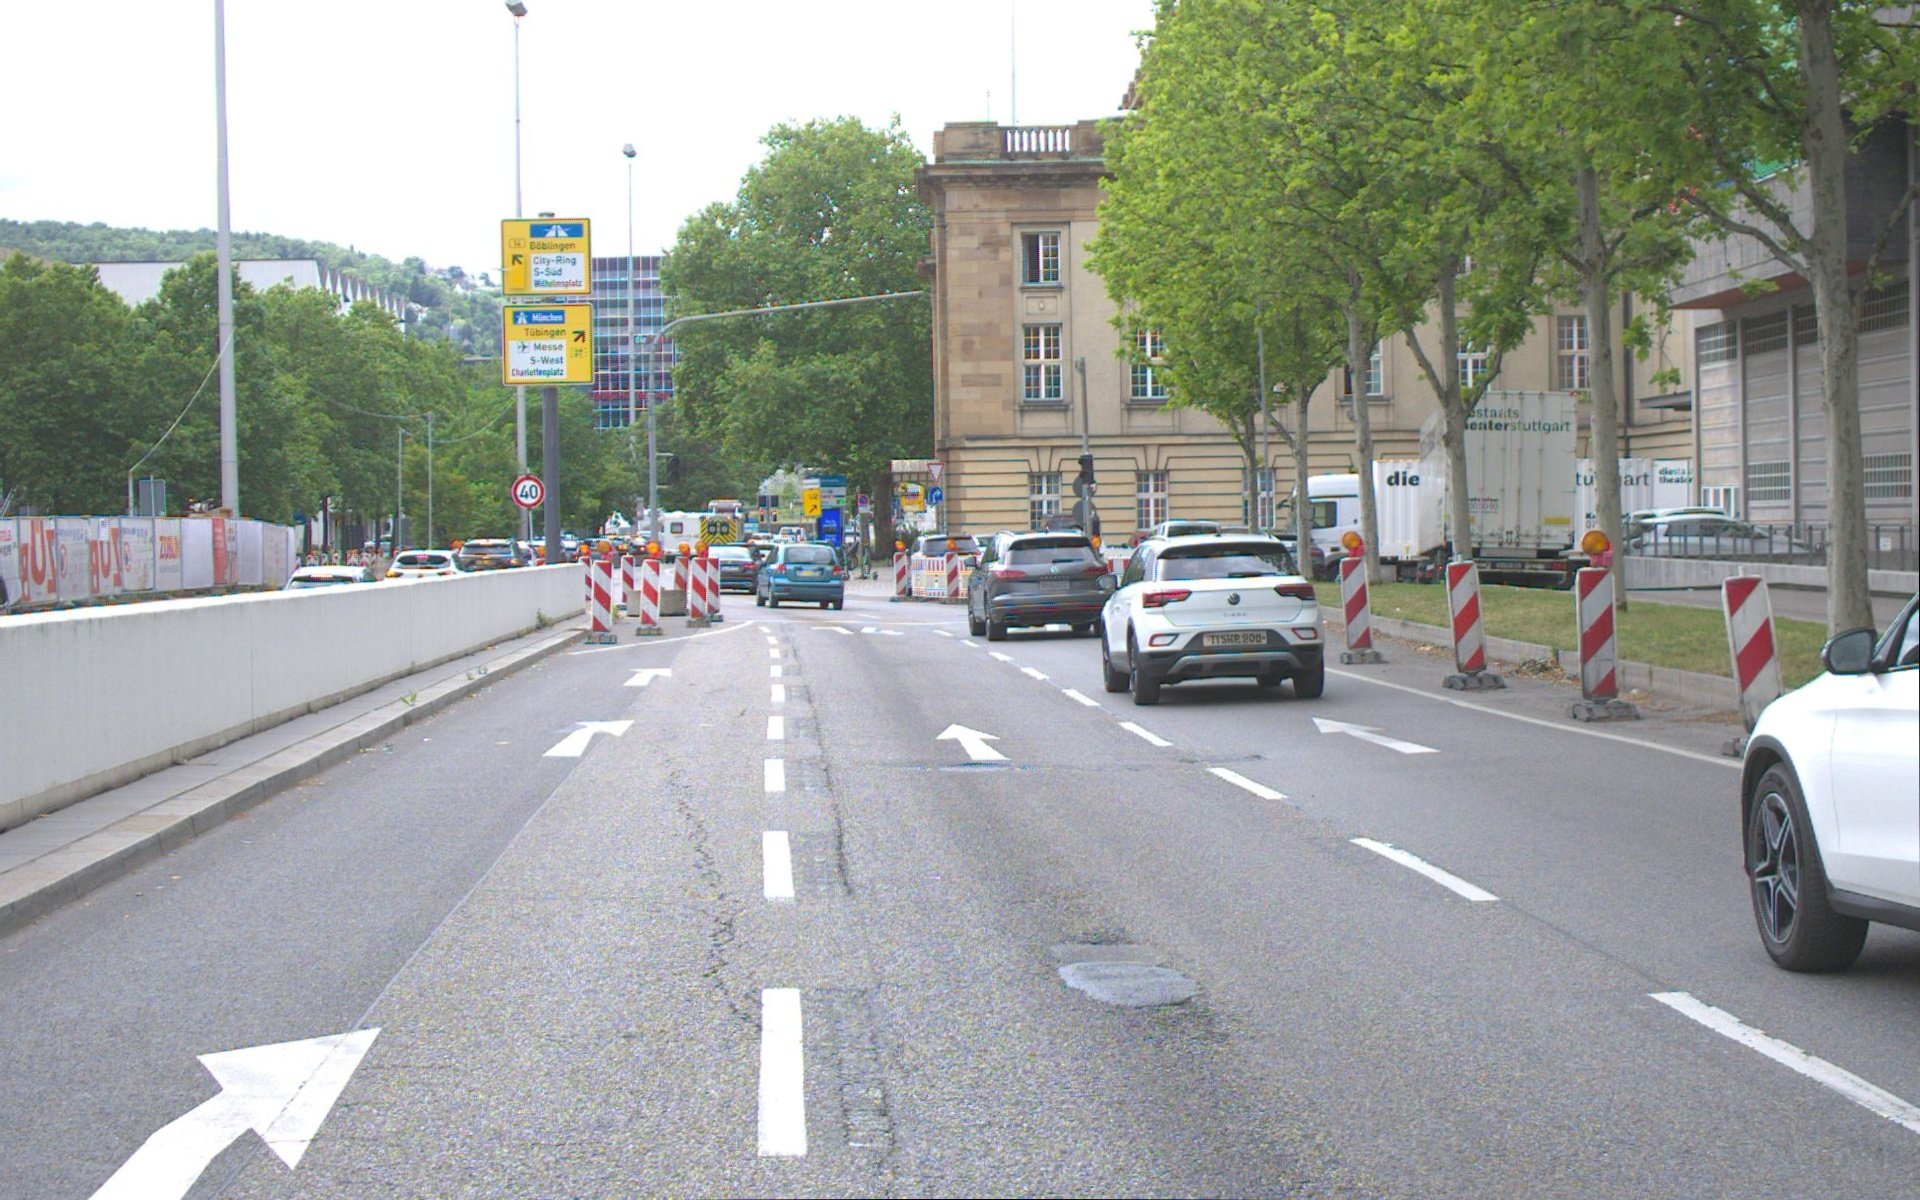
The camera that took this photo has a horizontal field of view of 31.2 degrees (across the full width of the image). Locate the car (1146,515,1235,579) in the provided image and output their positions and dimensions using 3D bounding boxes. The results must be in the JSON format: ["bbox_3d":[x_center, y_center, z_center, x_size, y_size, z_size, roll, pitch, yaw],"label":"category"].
[{"bbox_3d":[5.747,-1.307,86.093,1.750,1.562,4.332,0,0,-2],"label":"car"}]

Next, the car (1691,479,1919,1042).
[{"bbox_3d":[3.731,0.451,10.367,1.811,1.637,4.553,-4,2,-3],"label":"car"}]

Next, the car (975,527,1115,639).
[{"bbox_3d":[1.285,-0.269,53.862,1.823,1.562,4.480,-4,0,-2],"label":"car"}]

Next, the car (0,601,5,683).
[{"bbox_3d":[-14.692,0.492,48.035,1.750,1.562,3.377,-3,1,-2],"label":"car"}]

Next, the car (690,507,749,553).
[{"bbox_3d":[-12.952,-3.813,185.497,2.582,2.366,5.526,-1,1,2],"label":"car"}]

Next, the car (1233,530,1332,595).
[{"bbox_3d":[7.988,-0.930,85.428,1.856,1.562,4.332,0,0,-2],"label":"car"}]

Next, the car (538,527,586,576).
[{"bbox_3d":[-17.595,-2.160,151.942,1.993,2.006,4.001,-1,3,-5],"label":"car"}]

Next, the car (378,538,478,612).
[{"bbox_3d":[-11.661,-0.572,75.557,1.750,1.562,3.377,1,1,-2],"label":"car"}]

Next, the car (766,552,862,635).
[{"bbox_3d":[-3.271,-0.170,77.652,1.823,1.734,4.480,-1,1,1],"label":"car"}]

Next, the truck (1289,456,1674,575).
[{"bbox_3d":[14.185,-2.289,93.922,10.029,3.040,2.569,-1,0,-2],"label":"truck"}]

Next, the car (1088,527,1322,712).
[{"bbox_3d":[2.309,0.130,33.392,1.750,1.562,4.332,-3,2,-2],"label":"car"}]

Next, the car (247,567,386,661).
[{"bbox_3d":[-11.314,0.214,60.681,1.750,1.562,4.332,-1,1,-2],"label":"car"}]

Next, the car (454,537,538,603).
[{"bbox_3d":[-12.041,-0.795,89.365,1.750,1.562,3.377,-3,1,-2],"label":"car"}]

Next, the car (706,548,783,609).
[{"bbox_3d":[-6.413,-0.651,102.545,1.823,1.735,4.479,-2,0,2],"label":"car"}]

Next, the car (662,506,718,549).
[{"bbox_3d":[-15.460,-4.170,197.117,2.582,2.366,5.526,-1,1,2],"label":"car"}]

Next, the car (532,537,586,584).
[{"bbox_3d":[-13.911,-1.372,119.369,1.750,1.562,4.332,-1,1,-5],"label":"car"}]
